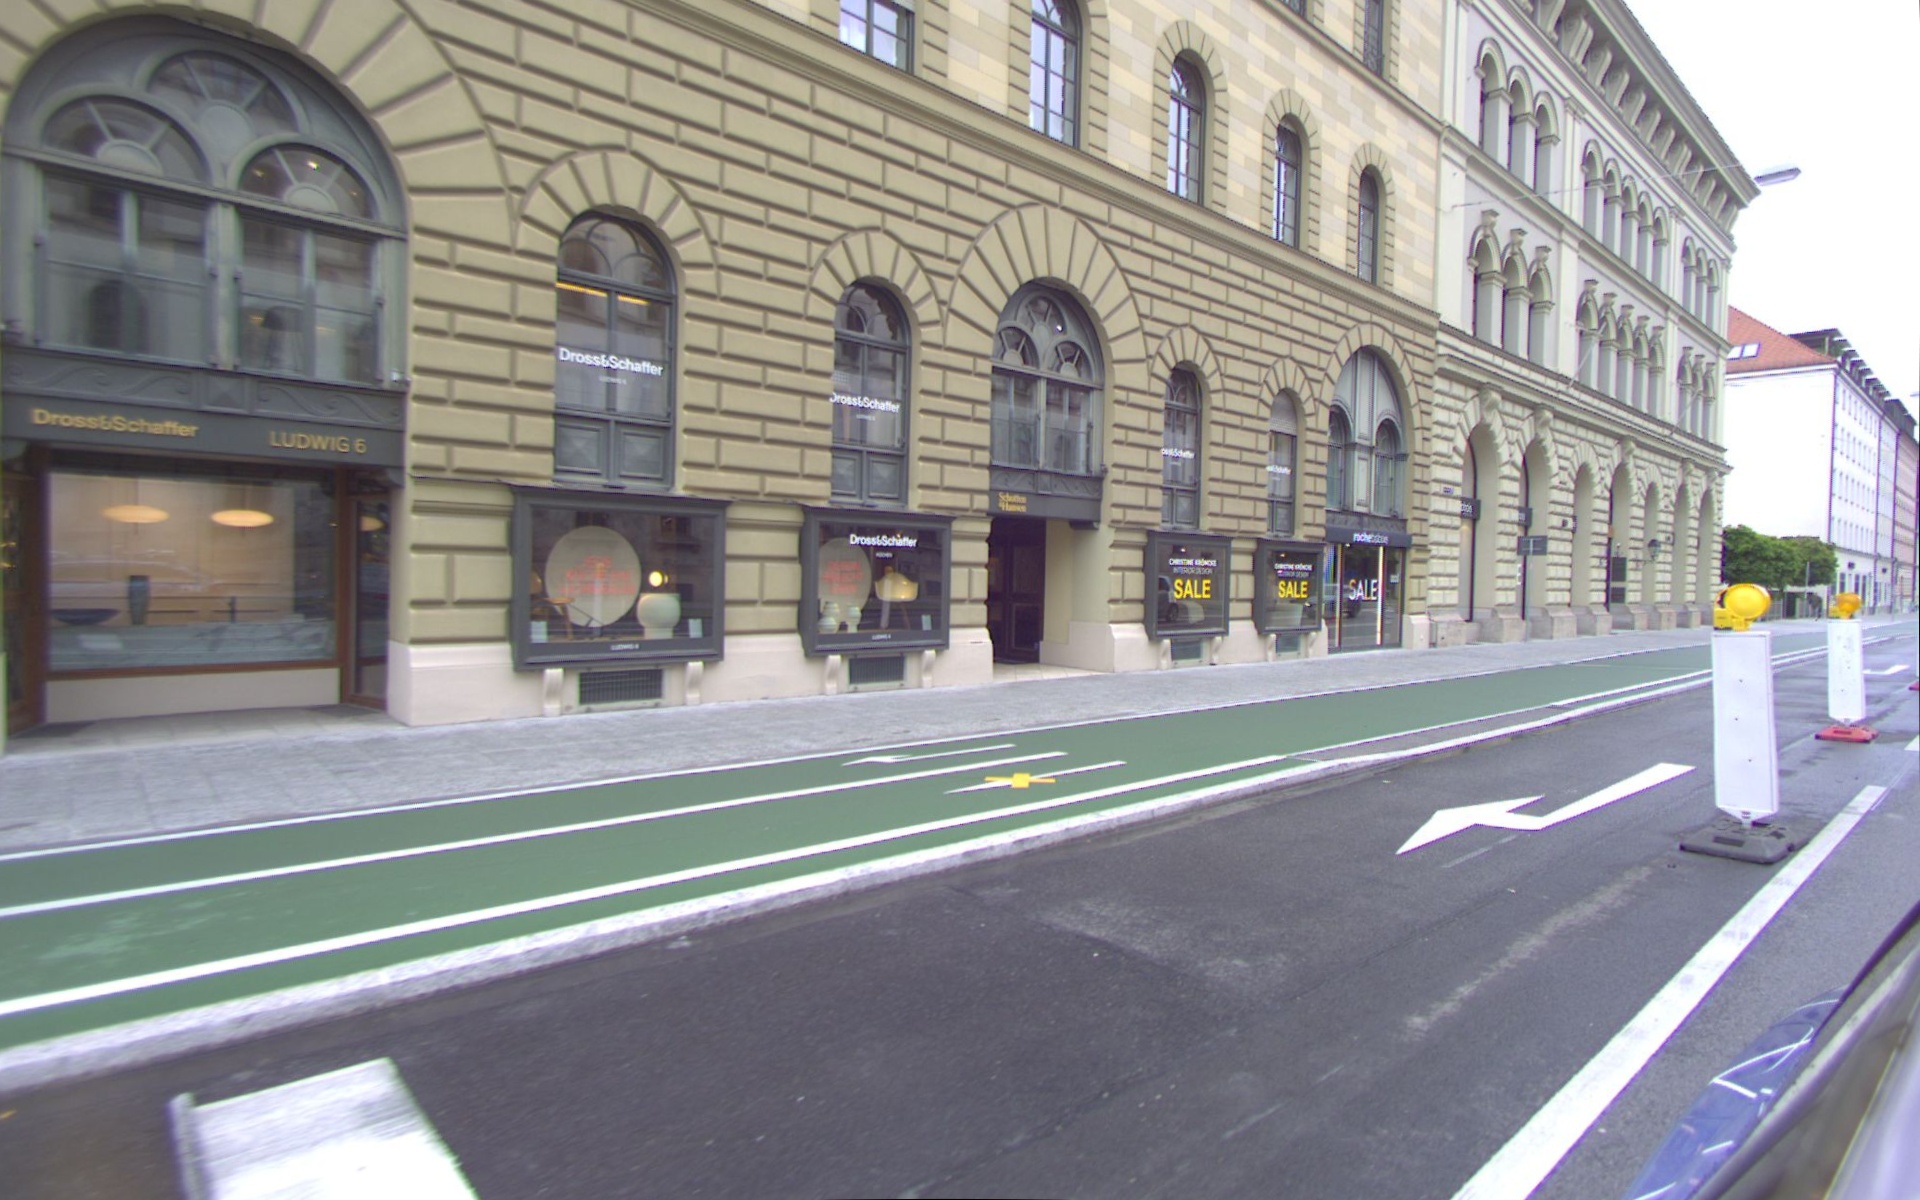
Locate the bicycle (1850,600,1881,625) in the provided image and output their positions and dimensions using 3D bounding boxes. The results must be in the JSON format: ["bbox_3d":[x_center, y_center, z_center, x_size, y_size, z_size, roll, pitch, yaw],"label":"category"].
[{"bbox_3d":[39.162,0.519,43.760,2.488,1.045,0.750,0,0,-43],"label":"bicycle"}]

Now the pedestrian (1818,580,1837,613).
[{"bbox_3d":[50.444,-0.194,58.831,0.812,1.897,0.654,0,3,-42],"label":"pedestrian"}]

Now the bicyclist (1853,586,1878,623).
[{"bbox_3d":[39.119,0.173,43.721,0.844,1.572,0.723,0,0,-42],"label":"bicyclist"}]
